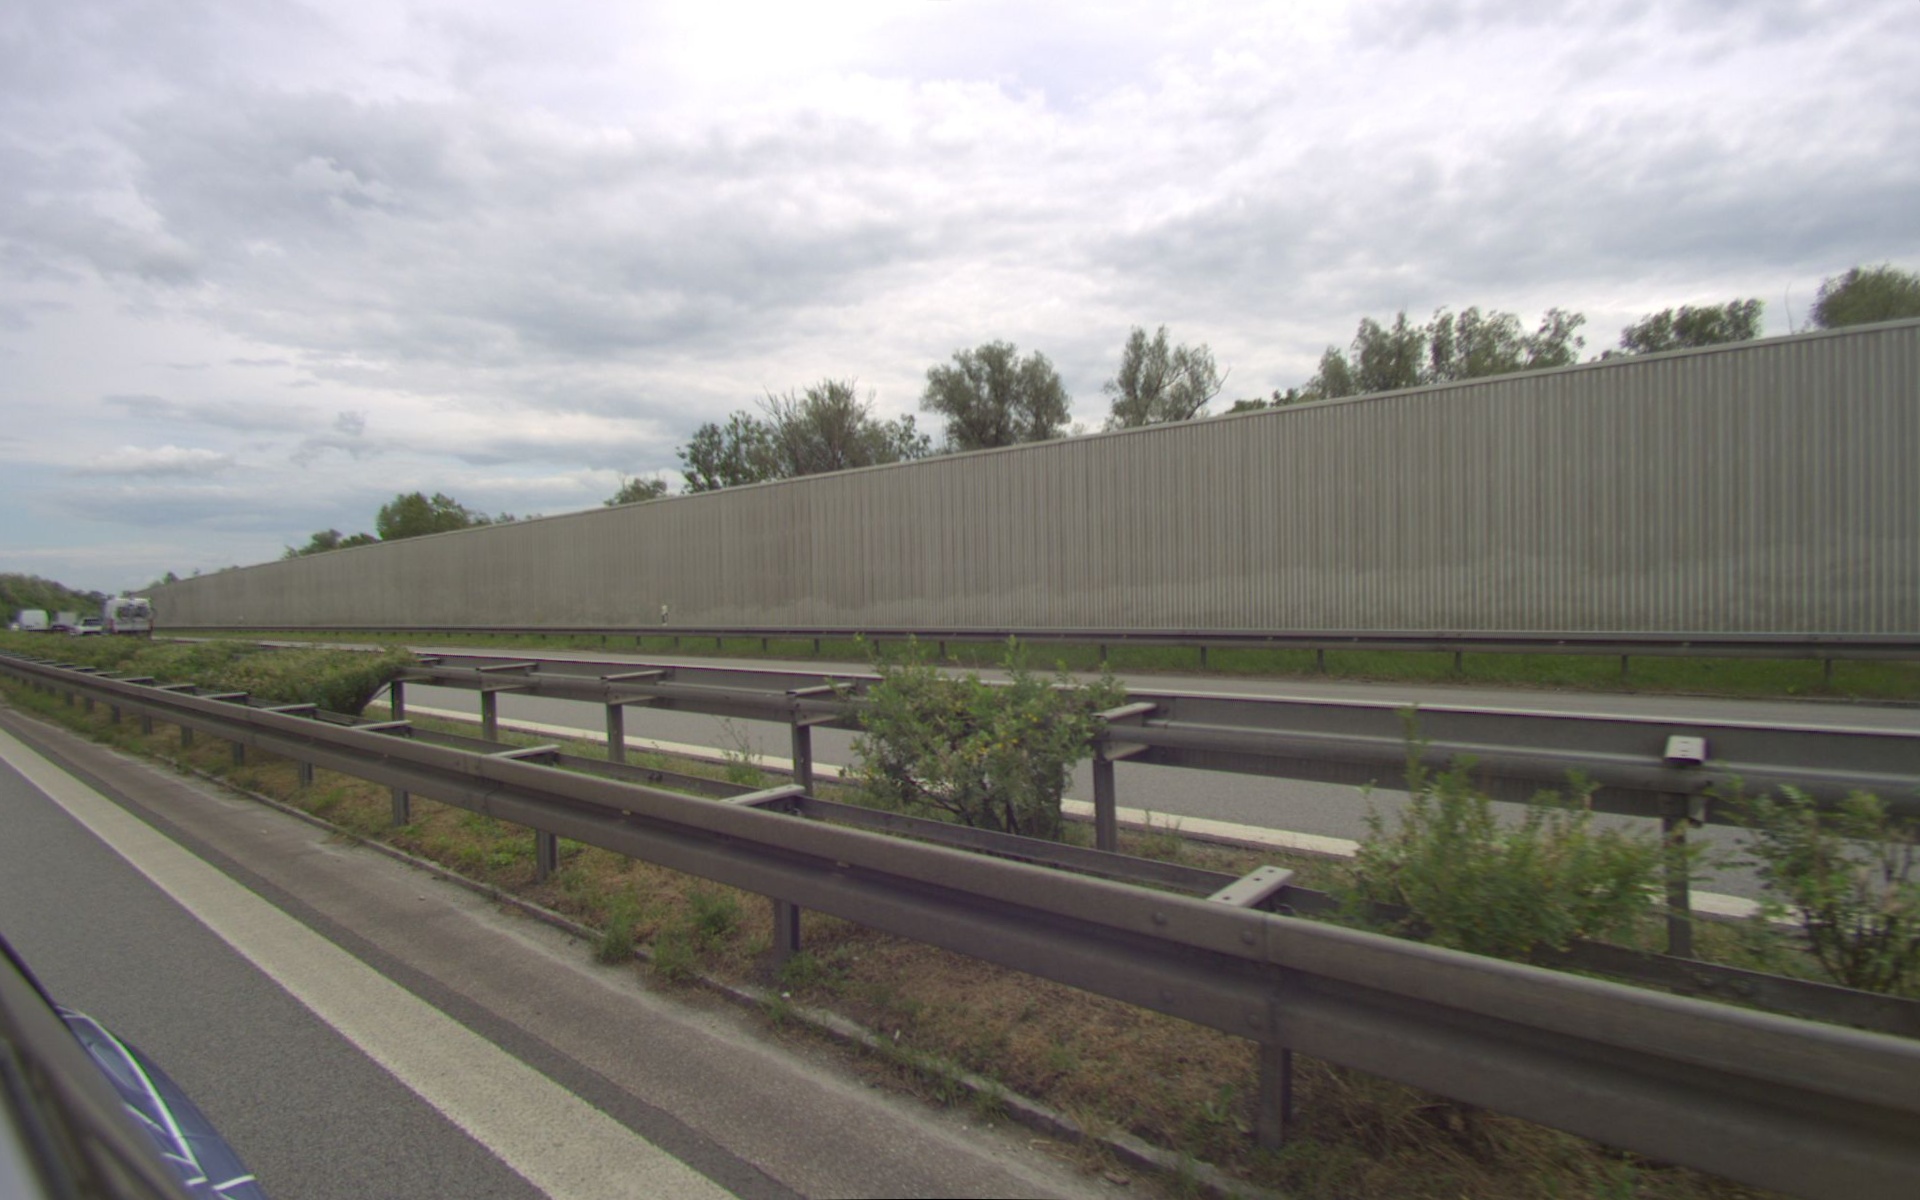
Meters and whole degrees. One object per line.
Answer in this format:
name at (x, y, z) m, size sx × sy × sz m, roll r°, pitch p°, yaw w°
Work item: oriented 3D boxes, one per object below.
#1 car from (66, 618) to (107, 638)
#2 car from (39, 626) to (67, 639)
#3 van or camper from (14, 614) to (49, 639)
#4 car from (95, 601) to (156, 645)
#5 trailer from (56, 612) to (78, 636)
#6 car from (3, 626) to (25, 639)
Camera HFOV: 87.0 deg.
car at (-64.821, 2.104, 75.049) m, size 4.499 × 1.414 × 1.844 m, roll -2°, pitch -2°, yaw 43°
car at (-98.078, 3.525, 109.446) m, size 4.970 × 1.375 × 1.971 m, roll -2°, pitch -1°, yaw 45°
van or camper at (-91.632, 2.640, 99.837) m, size 6.308 × 2.460 × 1.972 m, roll -2°, pitch -2°, yaw 43°
car at (-49.675, 1.370, 60.210) m, size 5.683 × 2.474 × 2.088 m, roll -2°, pitch -2°, yaw 43°
trailer at (-167.532, 4.558, 189.814) m, size 2.945 × 4.272 × 14.197 m, roll 0°, pitch -1°, yaw -42°
car at (-116.257, 3.987, 124.291) m, size 4.970 × 1.425 × 1.785 m, roll -2°, pitch -1°, yaw 45°
